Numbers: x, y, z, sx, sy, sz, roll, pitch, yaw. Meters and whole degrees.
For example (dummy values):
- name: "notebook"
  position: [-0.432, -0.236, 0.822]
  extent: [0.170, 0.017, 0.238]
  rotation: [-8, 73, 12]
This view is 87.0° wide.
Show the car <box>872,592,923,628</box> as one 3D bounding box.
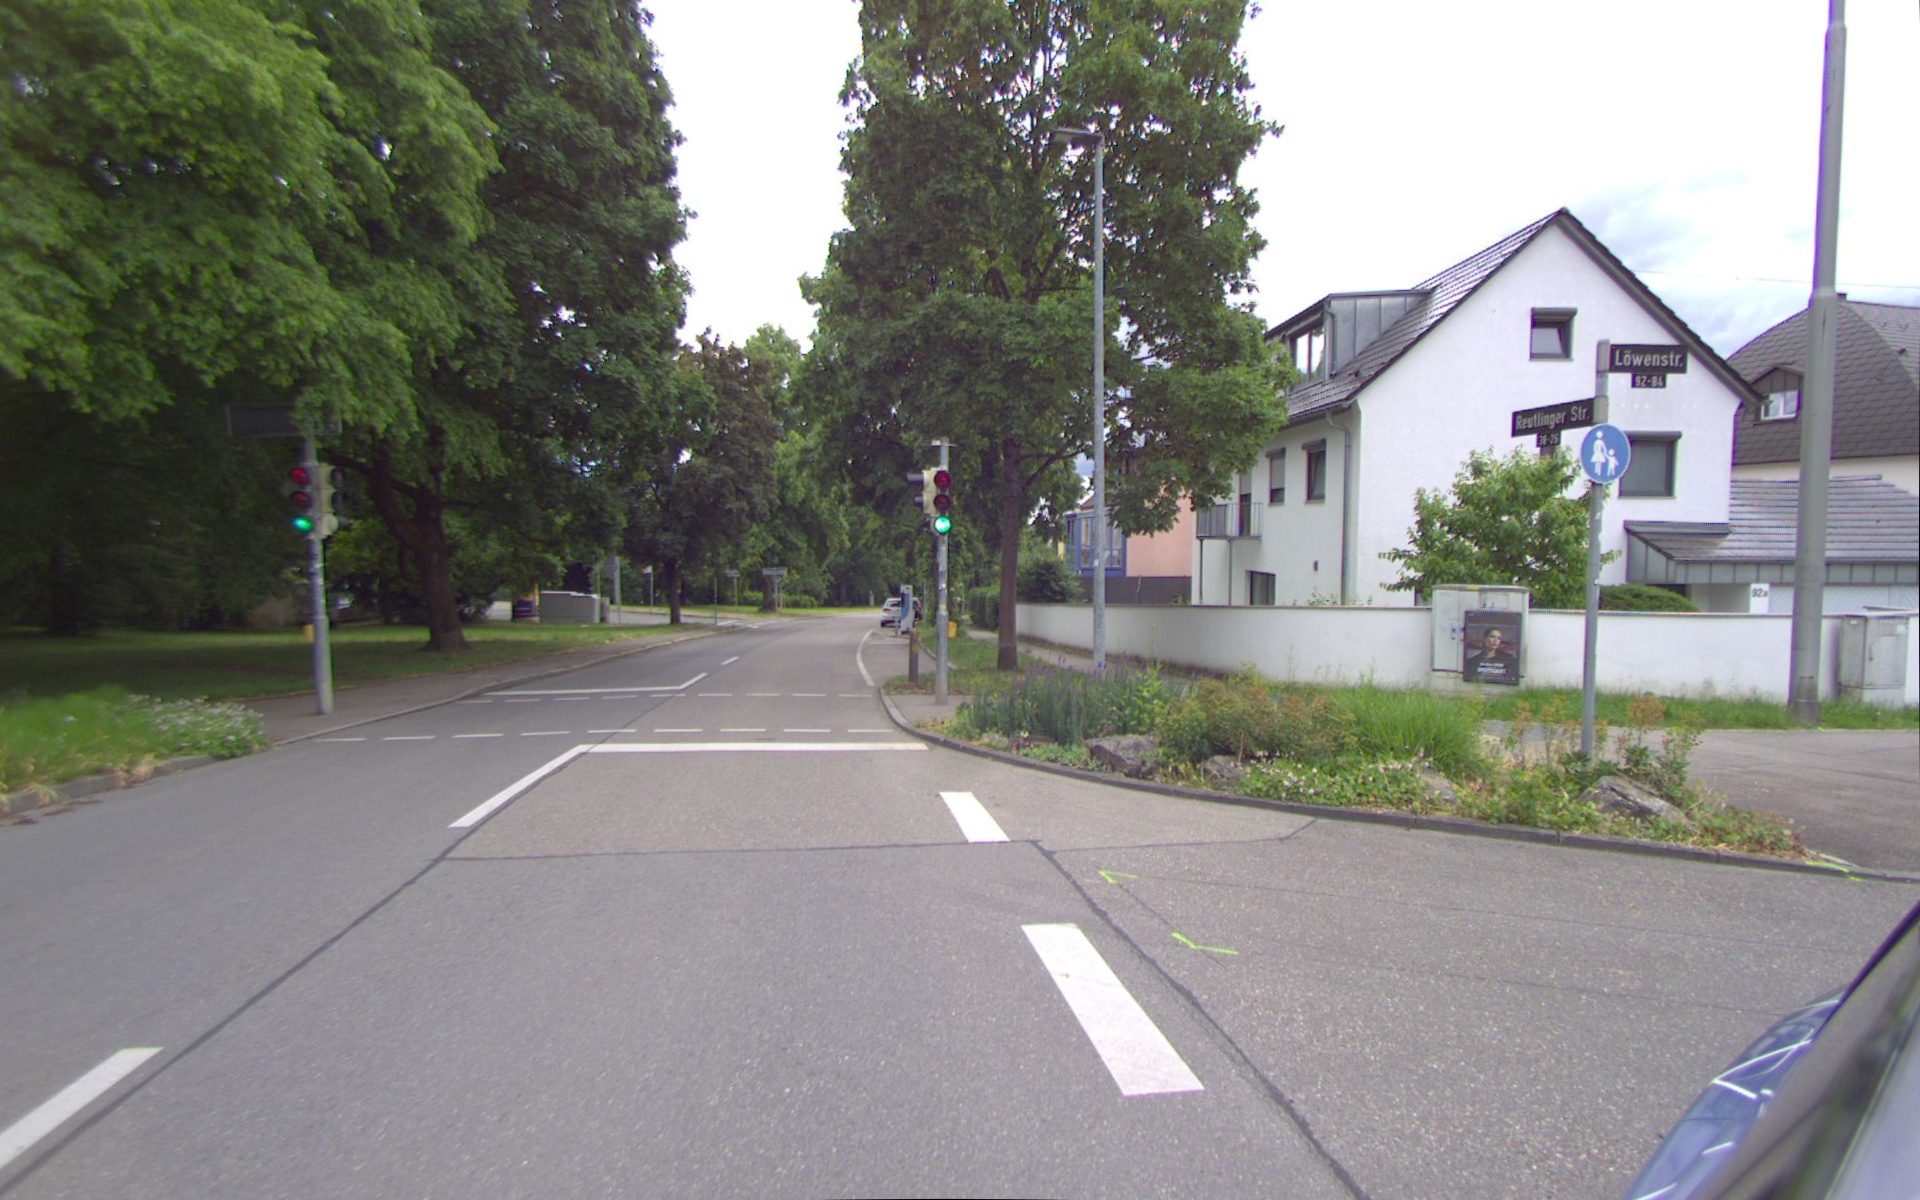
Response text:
- name: "car"
  position: [-3.197, 0.477, 52.536]
  extent: [1.965, 1.571, 3.995]
  rotation: [2, 2, 6]
